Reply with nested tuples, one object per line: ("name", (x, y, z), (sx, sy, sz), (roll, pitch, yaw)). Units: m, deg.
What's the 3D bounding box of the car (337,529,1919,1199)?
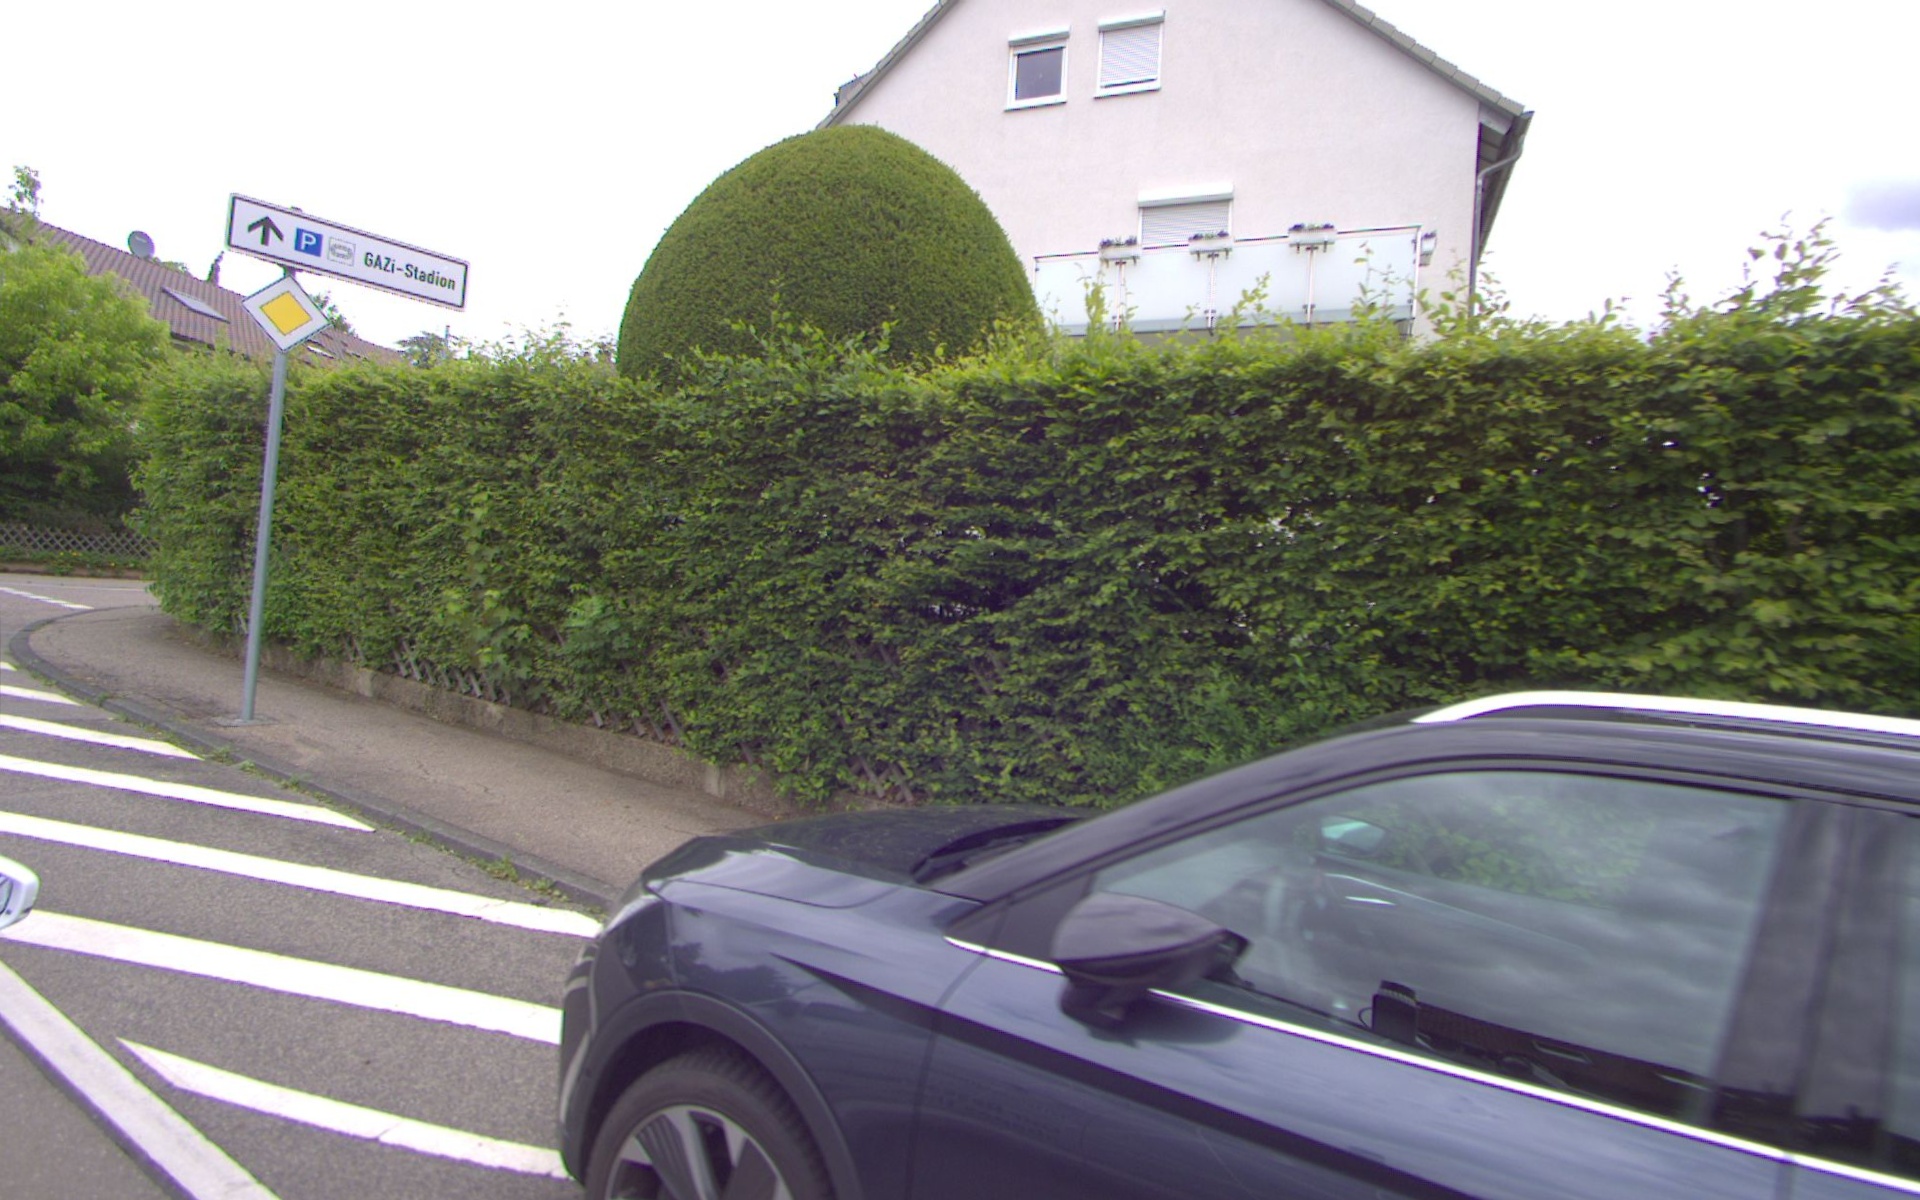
("car", (0.971, 0.872, 1.883), (4.306, 1.507, 1.792), (7, 1, 31))
